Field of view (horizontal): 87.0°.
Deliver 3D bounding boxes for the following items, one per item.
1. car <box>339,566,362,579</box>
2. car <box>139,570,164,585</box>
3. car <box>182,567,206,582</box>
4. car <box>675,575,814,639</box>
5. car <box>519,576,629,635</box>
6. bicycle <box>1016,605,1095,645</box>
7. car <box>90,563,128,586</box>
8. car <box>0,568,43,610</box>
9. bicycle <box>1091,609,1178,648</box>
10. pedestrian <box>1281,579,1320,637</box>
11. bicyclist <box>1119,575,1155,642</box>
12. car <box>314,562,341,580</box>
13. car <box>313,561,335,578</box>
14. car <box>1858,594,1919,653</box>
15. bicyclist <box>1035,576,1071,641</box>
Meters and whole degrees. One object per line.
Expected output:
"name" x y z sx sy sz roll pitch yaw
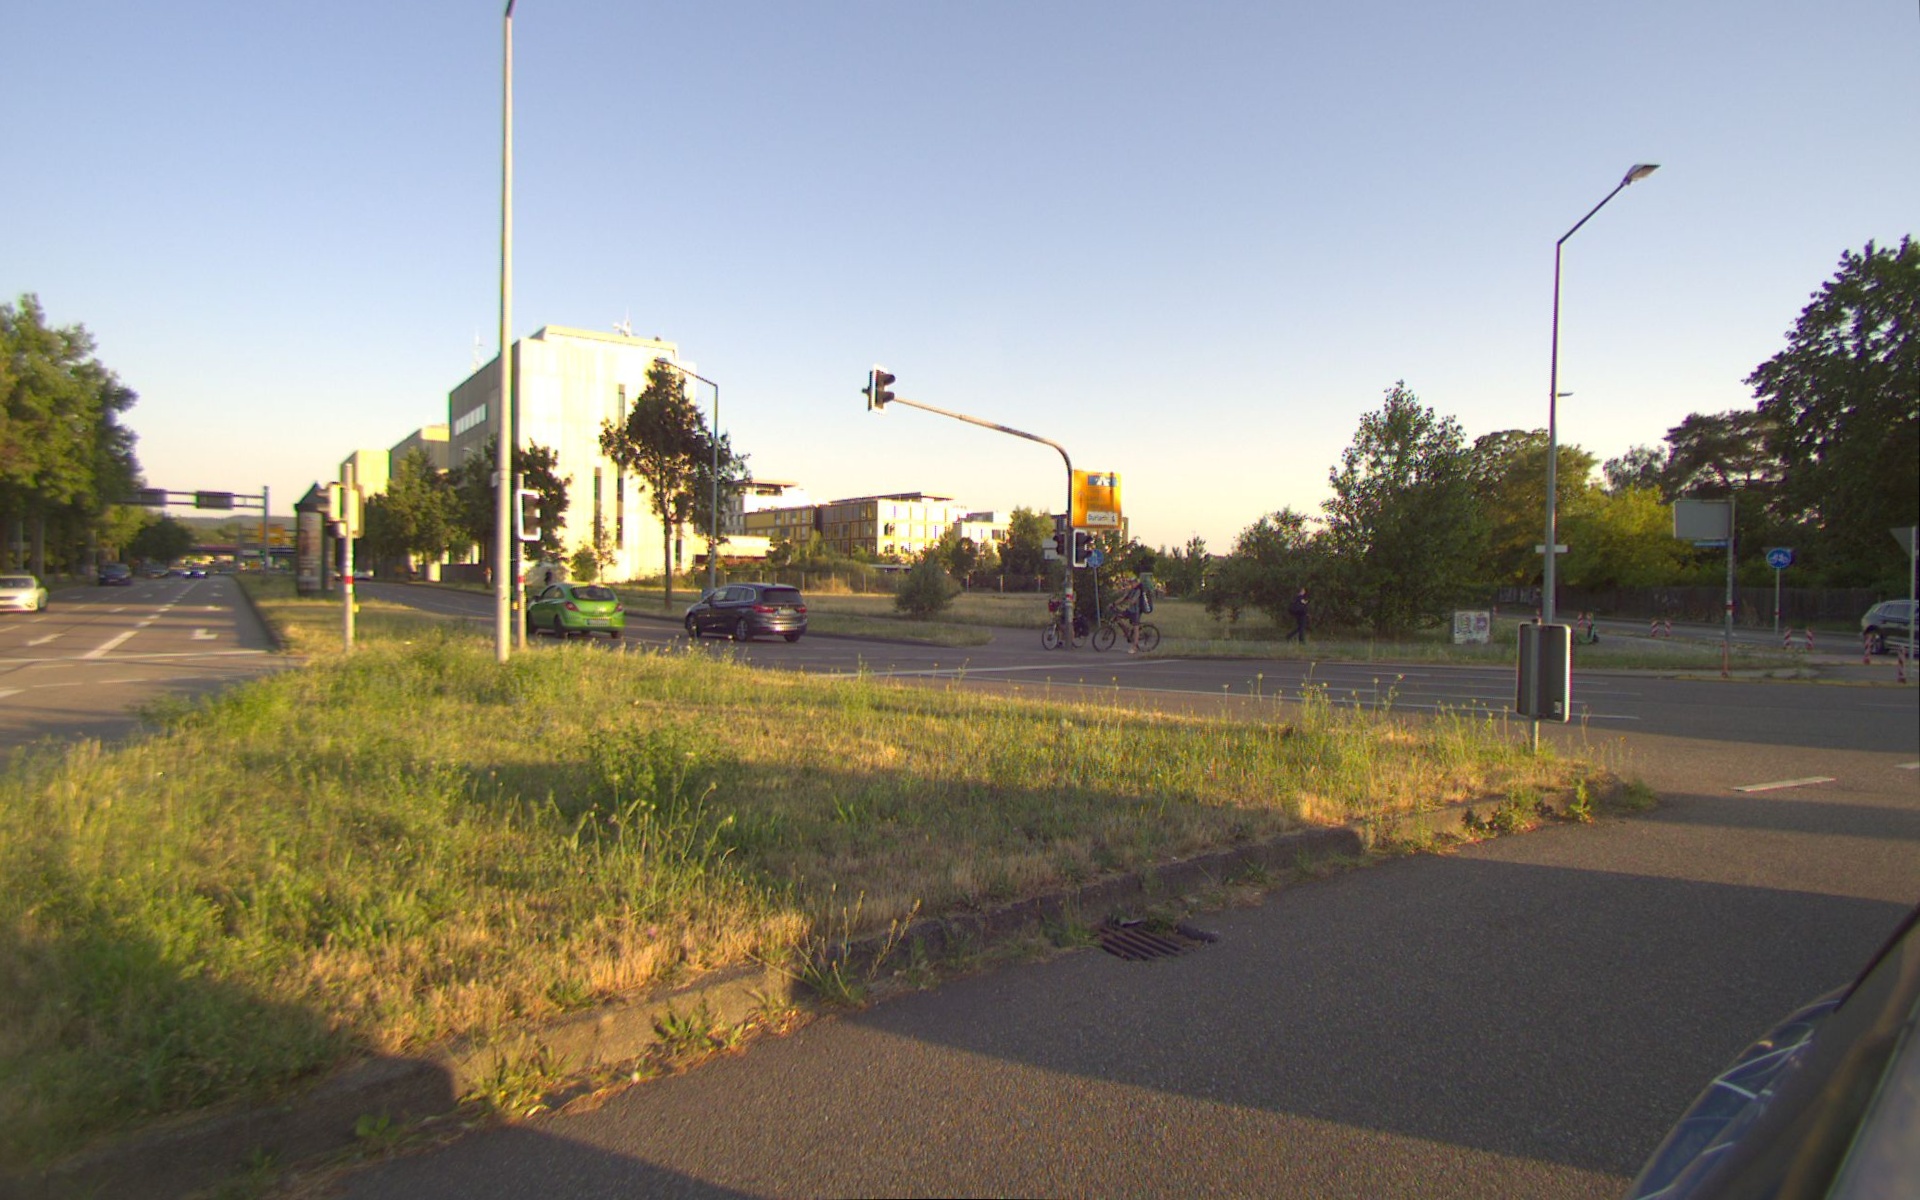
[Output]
"car" -72.355 -3.238 120.157 1.963 1.445 4.197 0 1 -37
"car" -85.099 -2.377 106.551 1.964 1.524 4.617 0 1 -38
"car" -81.839 -2.726 108.145 1.963 1.524 4.771 0 1 -36
"car" -6.126 0.166 28.489 1.705 1.598 4.318 4 -1 -45
"car" -10.426 0.090 27.171 1.659 1.438 3.998 0 1 -38
"bicycle" 2.595 0.663 27.349 2.065 0.975 0.711 -2 2 -27
"car" -63.058 -1.891 75.031 1.880 1.603 4.179 0 1 -37
"car" -35.944 -0.441 38.223 1.835 1.472 3.965 1 1 -41
"bicycle" 4.522 0.736 26.244 2.100 0.975 0.711 1 1 -15
"pedestrian" 9.787 0.216 29.095 0.978 1.610 0.922 1 1 16
"bicyclist" 4.594 0.214 26.265 0.674 1.711 0.727 1 1 -13
"car" -62.041 -2.846 99.251 1.963 1.649 3.999 0 1 -36
"car" -78.283 -3.756 124.515 2.029 1.971 4.962 0 1 -34
"car" 27.692 0.669 28.278 1.969 1.617 4.299 1 1 12
"bicyclist" 2.509 0.212 27.330 0.675 1.711 0.726 0 1 -29
